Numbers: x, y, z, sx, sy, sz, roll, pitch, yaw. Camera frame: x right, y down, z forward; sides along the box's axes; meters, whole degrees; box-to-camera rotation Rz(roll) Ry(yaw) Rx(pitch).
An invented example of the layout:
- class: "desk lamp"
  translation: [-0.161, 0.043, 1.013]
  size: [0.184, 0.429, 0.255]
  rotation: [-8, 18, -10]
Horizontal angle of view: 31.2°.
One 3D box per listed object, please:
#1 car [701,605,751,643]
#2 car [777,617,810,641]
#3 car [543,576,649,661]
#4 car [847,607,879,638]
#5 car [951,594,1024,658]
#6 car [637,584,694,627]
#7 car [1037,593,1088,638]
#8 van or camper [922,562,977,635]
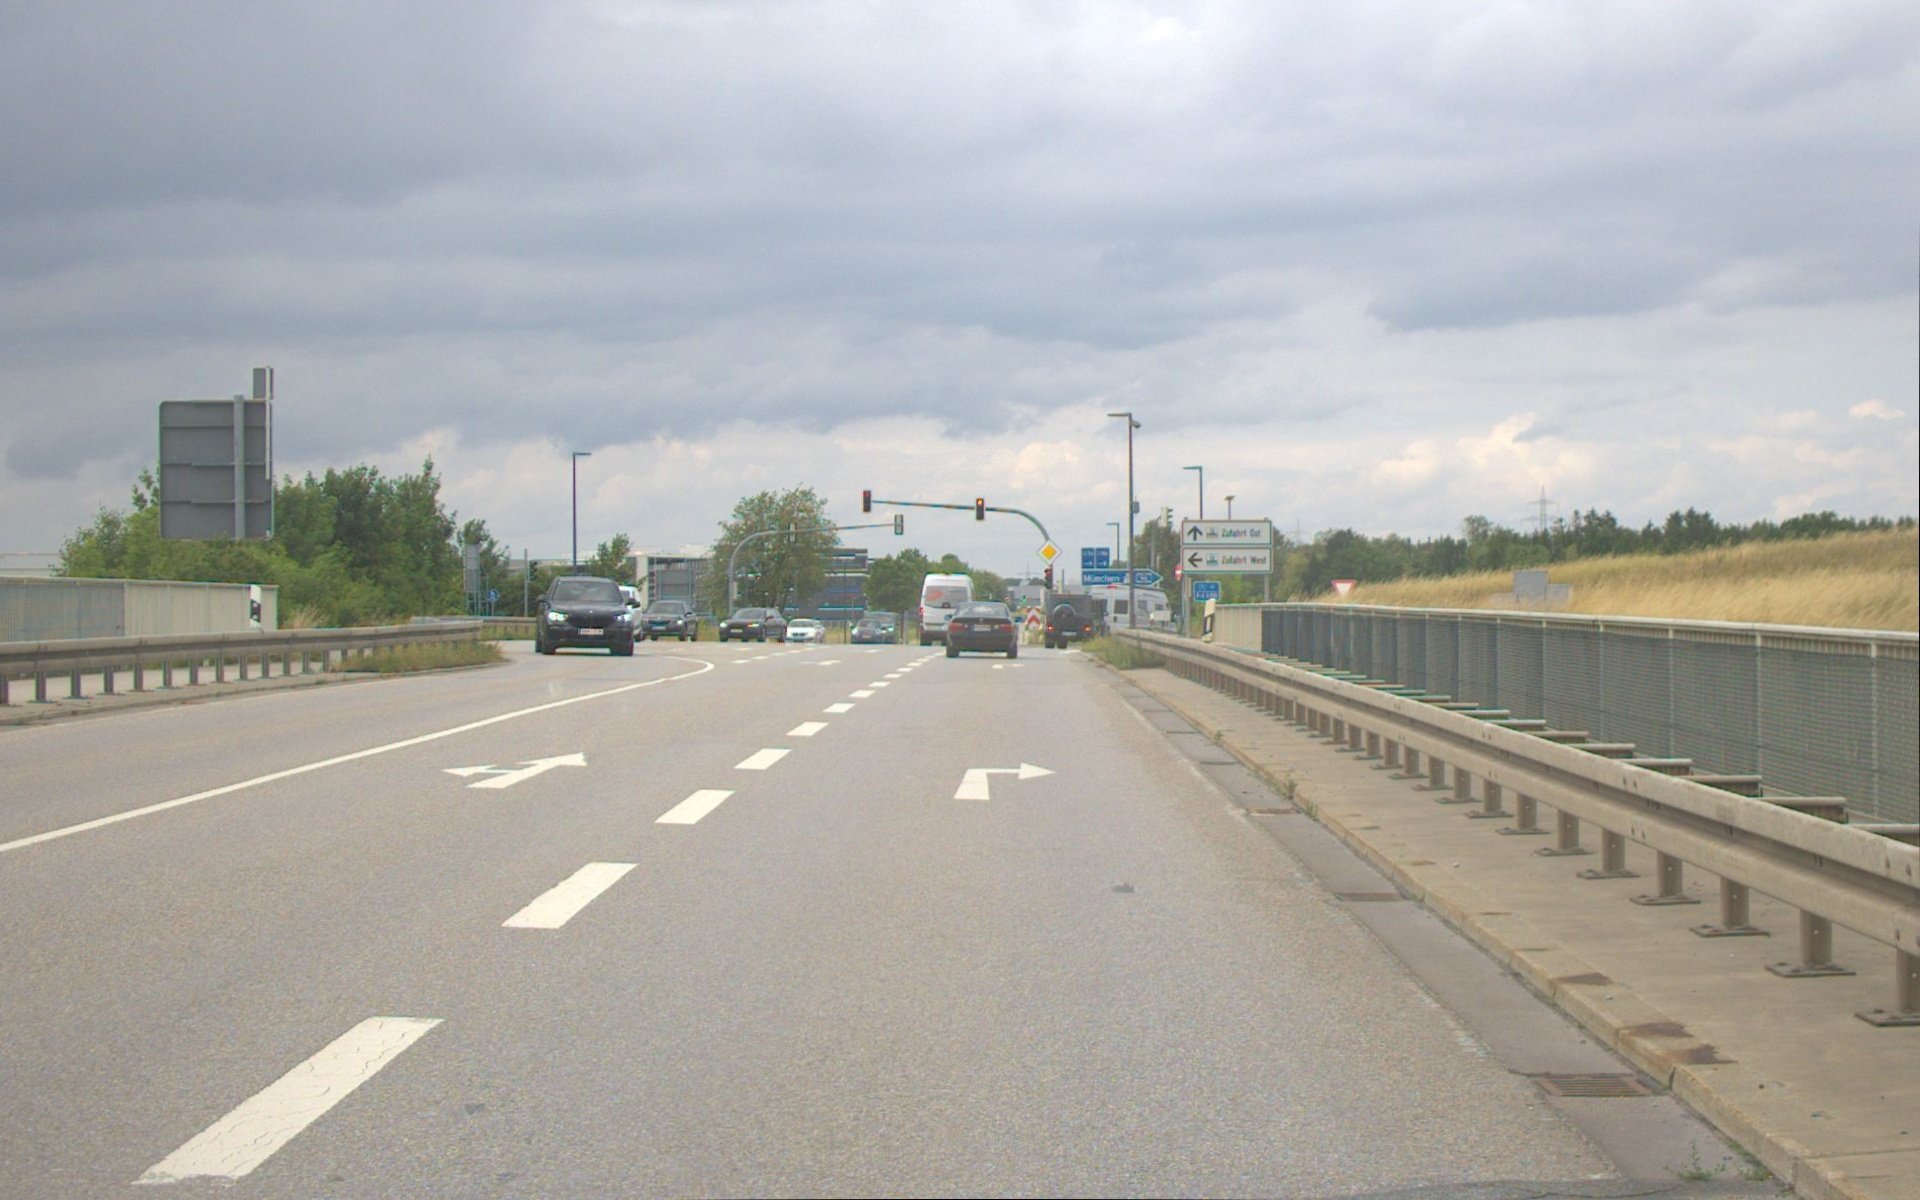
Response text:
- class: "car"
  translation: [-9.781, 0.991, 144.144]
  size: [1.808, 1.364, 4.786]
  rotation: [1, 2, -1]
- class: "car"
  translation: [-8.999, 1.555, 186.434]
  size: [1.481, 1.278, 3.533]
  rotation: [0, 0, 2]
- class: "car"
  translation: [-8.064, 0.407, 76.496]
  size: [1.993, 1.726, 4.762]
  rotation: [3, 0, -3]
- class: "car"
  translation: [-5.229, 1.205, 185.730]
  size: [1.693, 1.364, 3.944]
  rotation: [1, 3, -1]
- class: "car"
  translation: [0.671, 0.619, 82.049]
  size: [1.518, 1.480, 3.615]
  rotation: [0, 0, 4]
- class: "car"
  translation: [-11.026, 0.232, 128.940]
  size: [1.582, 1.552, 4.146]
  rotation: [1, 0, 2]
- class: "car"
  translation: [3.636, 0.541, 121.671]
  size: [1.682, 1.539, 3.615]
  rotation: [0, 0, 4]
- class: "van or camper"
  translation: [-0.363, -0.045, 126.933]
  size: [1.876, 2.572, 4.000]
  rotation: [2, 0, 1]
